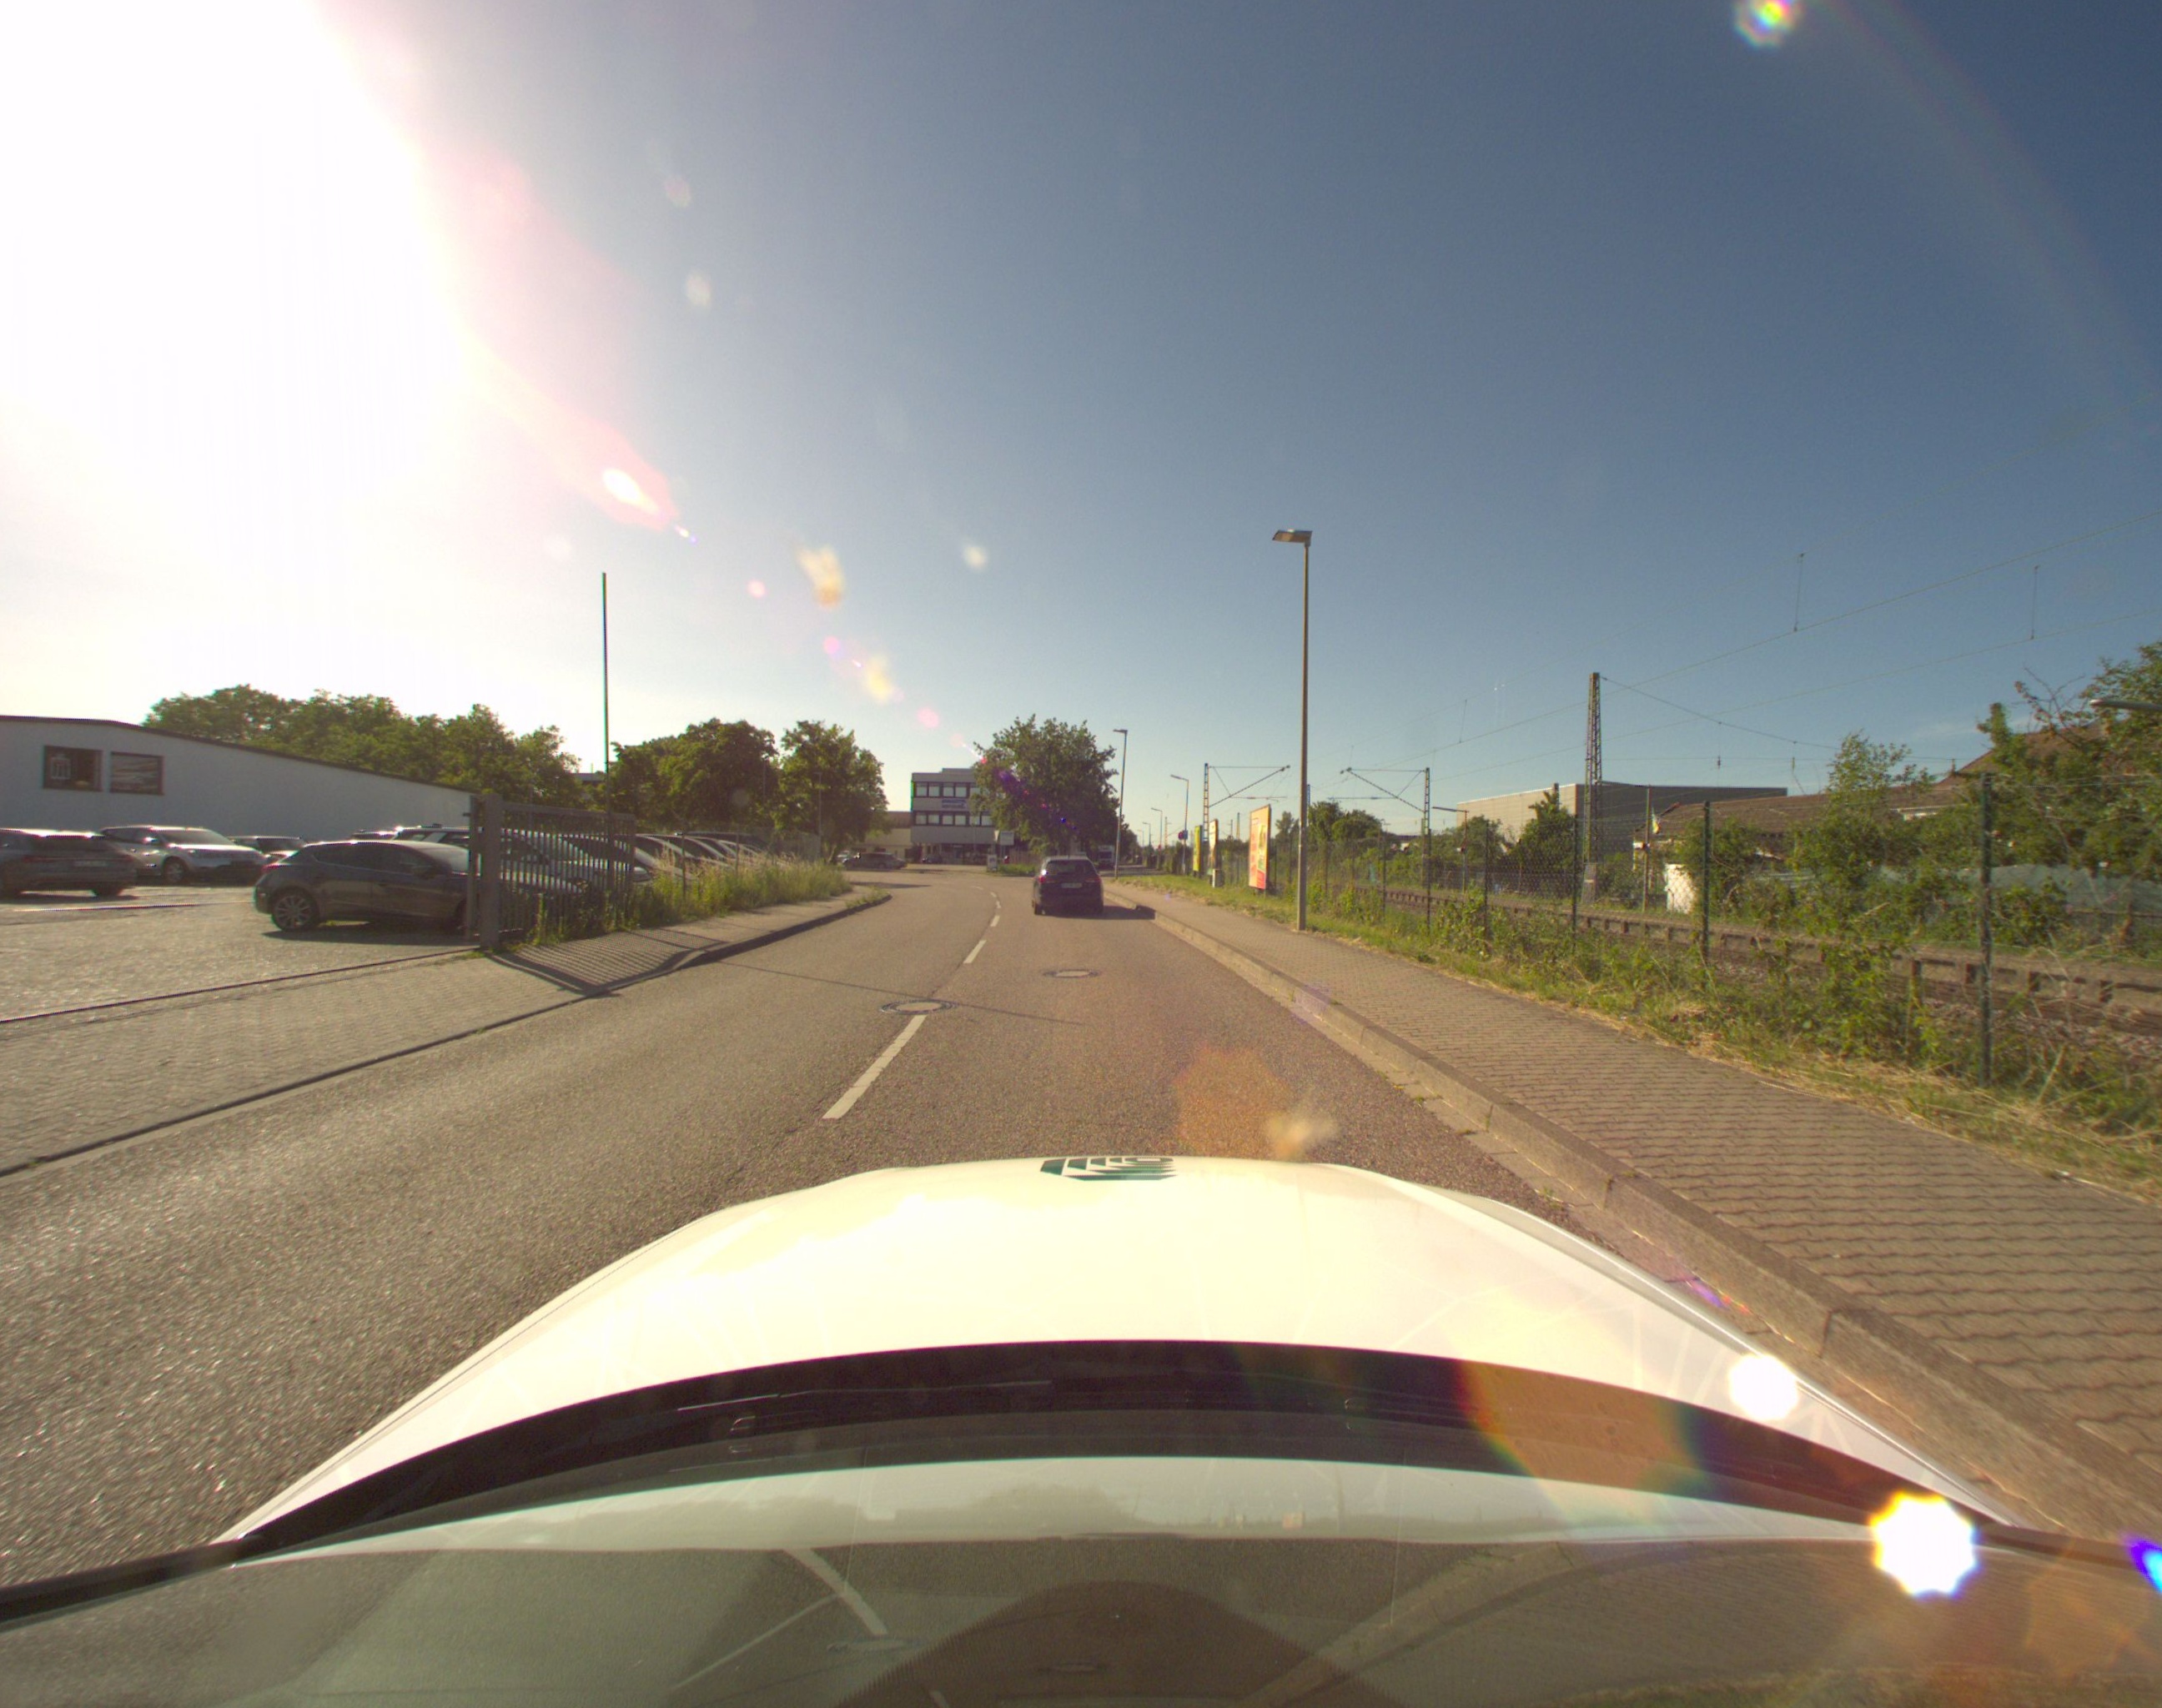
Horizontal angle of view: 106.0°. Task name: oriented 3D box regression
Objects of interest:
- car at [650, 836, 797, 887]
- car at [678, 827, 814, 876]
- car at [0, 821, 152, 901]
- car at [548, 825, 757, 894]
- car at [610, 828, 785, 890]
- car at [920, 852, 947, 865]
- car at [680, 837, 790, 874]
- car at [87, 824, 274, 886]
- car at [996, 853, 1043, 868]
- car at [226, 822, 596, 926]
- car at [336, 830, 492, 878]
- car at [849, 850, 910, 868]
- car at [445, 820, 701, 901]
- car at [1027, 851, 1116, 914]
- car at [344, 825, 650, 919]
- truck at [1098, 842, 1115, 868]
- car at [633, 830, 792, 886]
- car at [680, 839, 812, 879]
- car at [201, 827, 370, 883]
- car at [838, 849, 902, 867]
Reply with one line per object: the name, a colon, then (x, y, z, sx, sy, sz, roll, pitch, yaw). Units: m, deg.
car: (-12.144, 0.265, 27.980, 4.400, 1.648, 1.830, 1, 0, -17)
car: (-13.699, -0.057, 33.437, 4.869, 1.892, 1.821, 1, 0, -33)
car: (-22.546, 0.102, 17.390, 4.356, 1.562, 1.848, 1, 0, 16)
car: (-10.906, 0.157, 21.062, 4.393, 1.648, 1.833, 1, 0, -12)
car: (-11.063, 0.161, 23.604, 4.416, 1.648, 1.823, 1, 0, -29)
car: (-18.282, 0.515, 101.245, 1.984, 1.484, 4.935, 1, 1, 6)
car: (-16.350, 0.100, 38.686, 1.817, 1.648, 4.431, 1, 0, 39)
car: (-26.029, 0.012, 23.568, 4.356, 1.648, 1.848, 1, 0, 16)
car: (-6.717, 0.719, 89.266, 4.884, 1.484, 2.004, 1, 1, 7)
car: (-10.721, 0.311, 13.311, 4.378, 1.507, 1.839, 1, 0, -3)
car: (-24.958, 0.000, 30.567, 4.371, 1.648, 1.842, 1, 0, 3)
car: (-17.860, 0.425, 72.277, 4.891, 1.484, 2.001, 1, 0, 2)
car: (-11.094, 0.149, 18.113, 4.389, 1.648, 1.834, 1, 0, -10)
car: (-0.373, 0.675, 21.907, 1.940, 1.488, 4.555, 0, 0, -7)
car: (-11.043, 0.338, 15.721, 4.386, 1.648, 1.836, 1, 0, -8)
truck: (4.121, 0.227, 133.198, 2.604, 3.885, 13.534, 2, 0, 1)
car: (-11.615, 0.151, 25.753, 4.416, 1.648, 1.823, 1, 0, -29)
car: (-12.785, 0.219, 31.171, 4.421, 1.436, 1.821, 1, 0, -34)
car: (-25.187, 0.004, 25.814, 4.356, 1.648, 1.848, 1, 0, 16)
car: (-17.999, 0.371, 69.676, 4.891, 1.426, 2.001, 1, 0, 2)
